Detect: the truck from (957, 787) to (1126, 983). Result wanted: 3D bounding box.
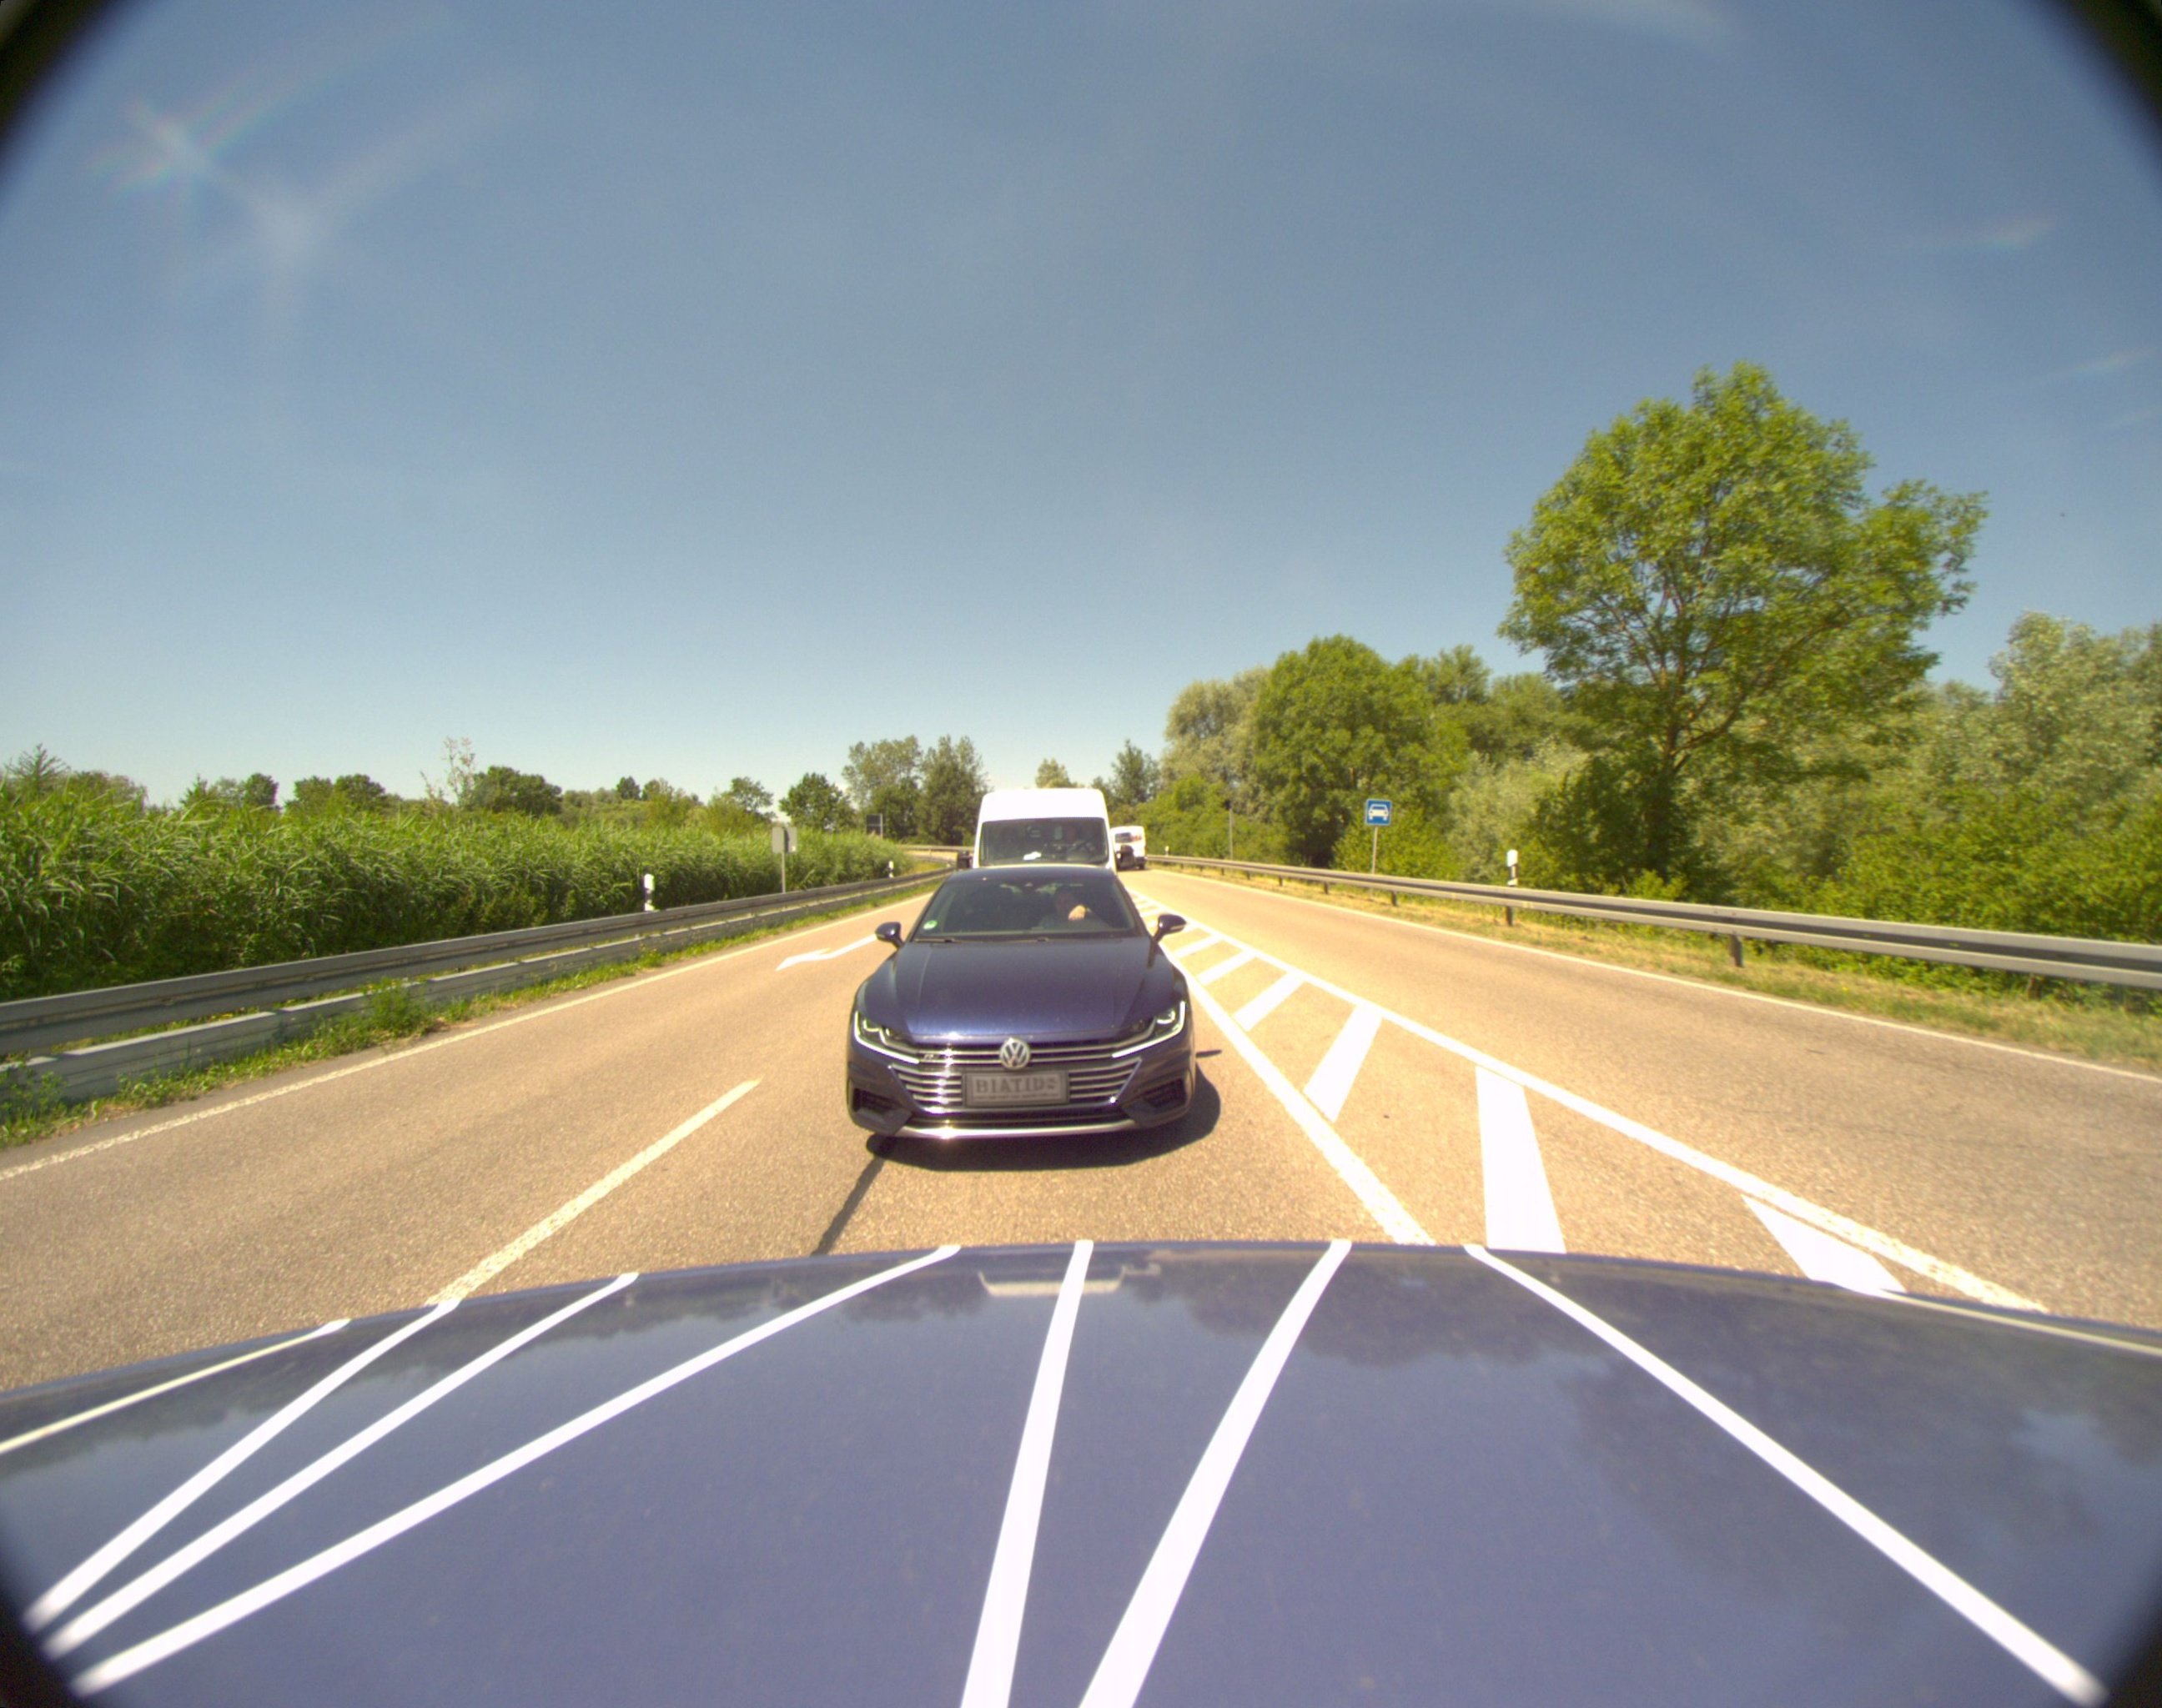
[{"bbox_3d":[-0.663,0.347,12.291,2.011,2.365,5.909,-2,1,-4],"label":"truck"}]

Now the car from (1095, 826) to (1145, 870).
[{"bbox_3d":[2.252,-0.401,45.284,2.000,2.403,5.584,-2,2,-7],"label":"car"}]

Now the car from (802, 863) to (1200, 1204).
[{"bbox_3d":[-0.344,0.868,5.756,1.819,1.454,4.415,-2,1,1],"label":"car"}]
